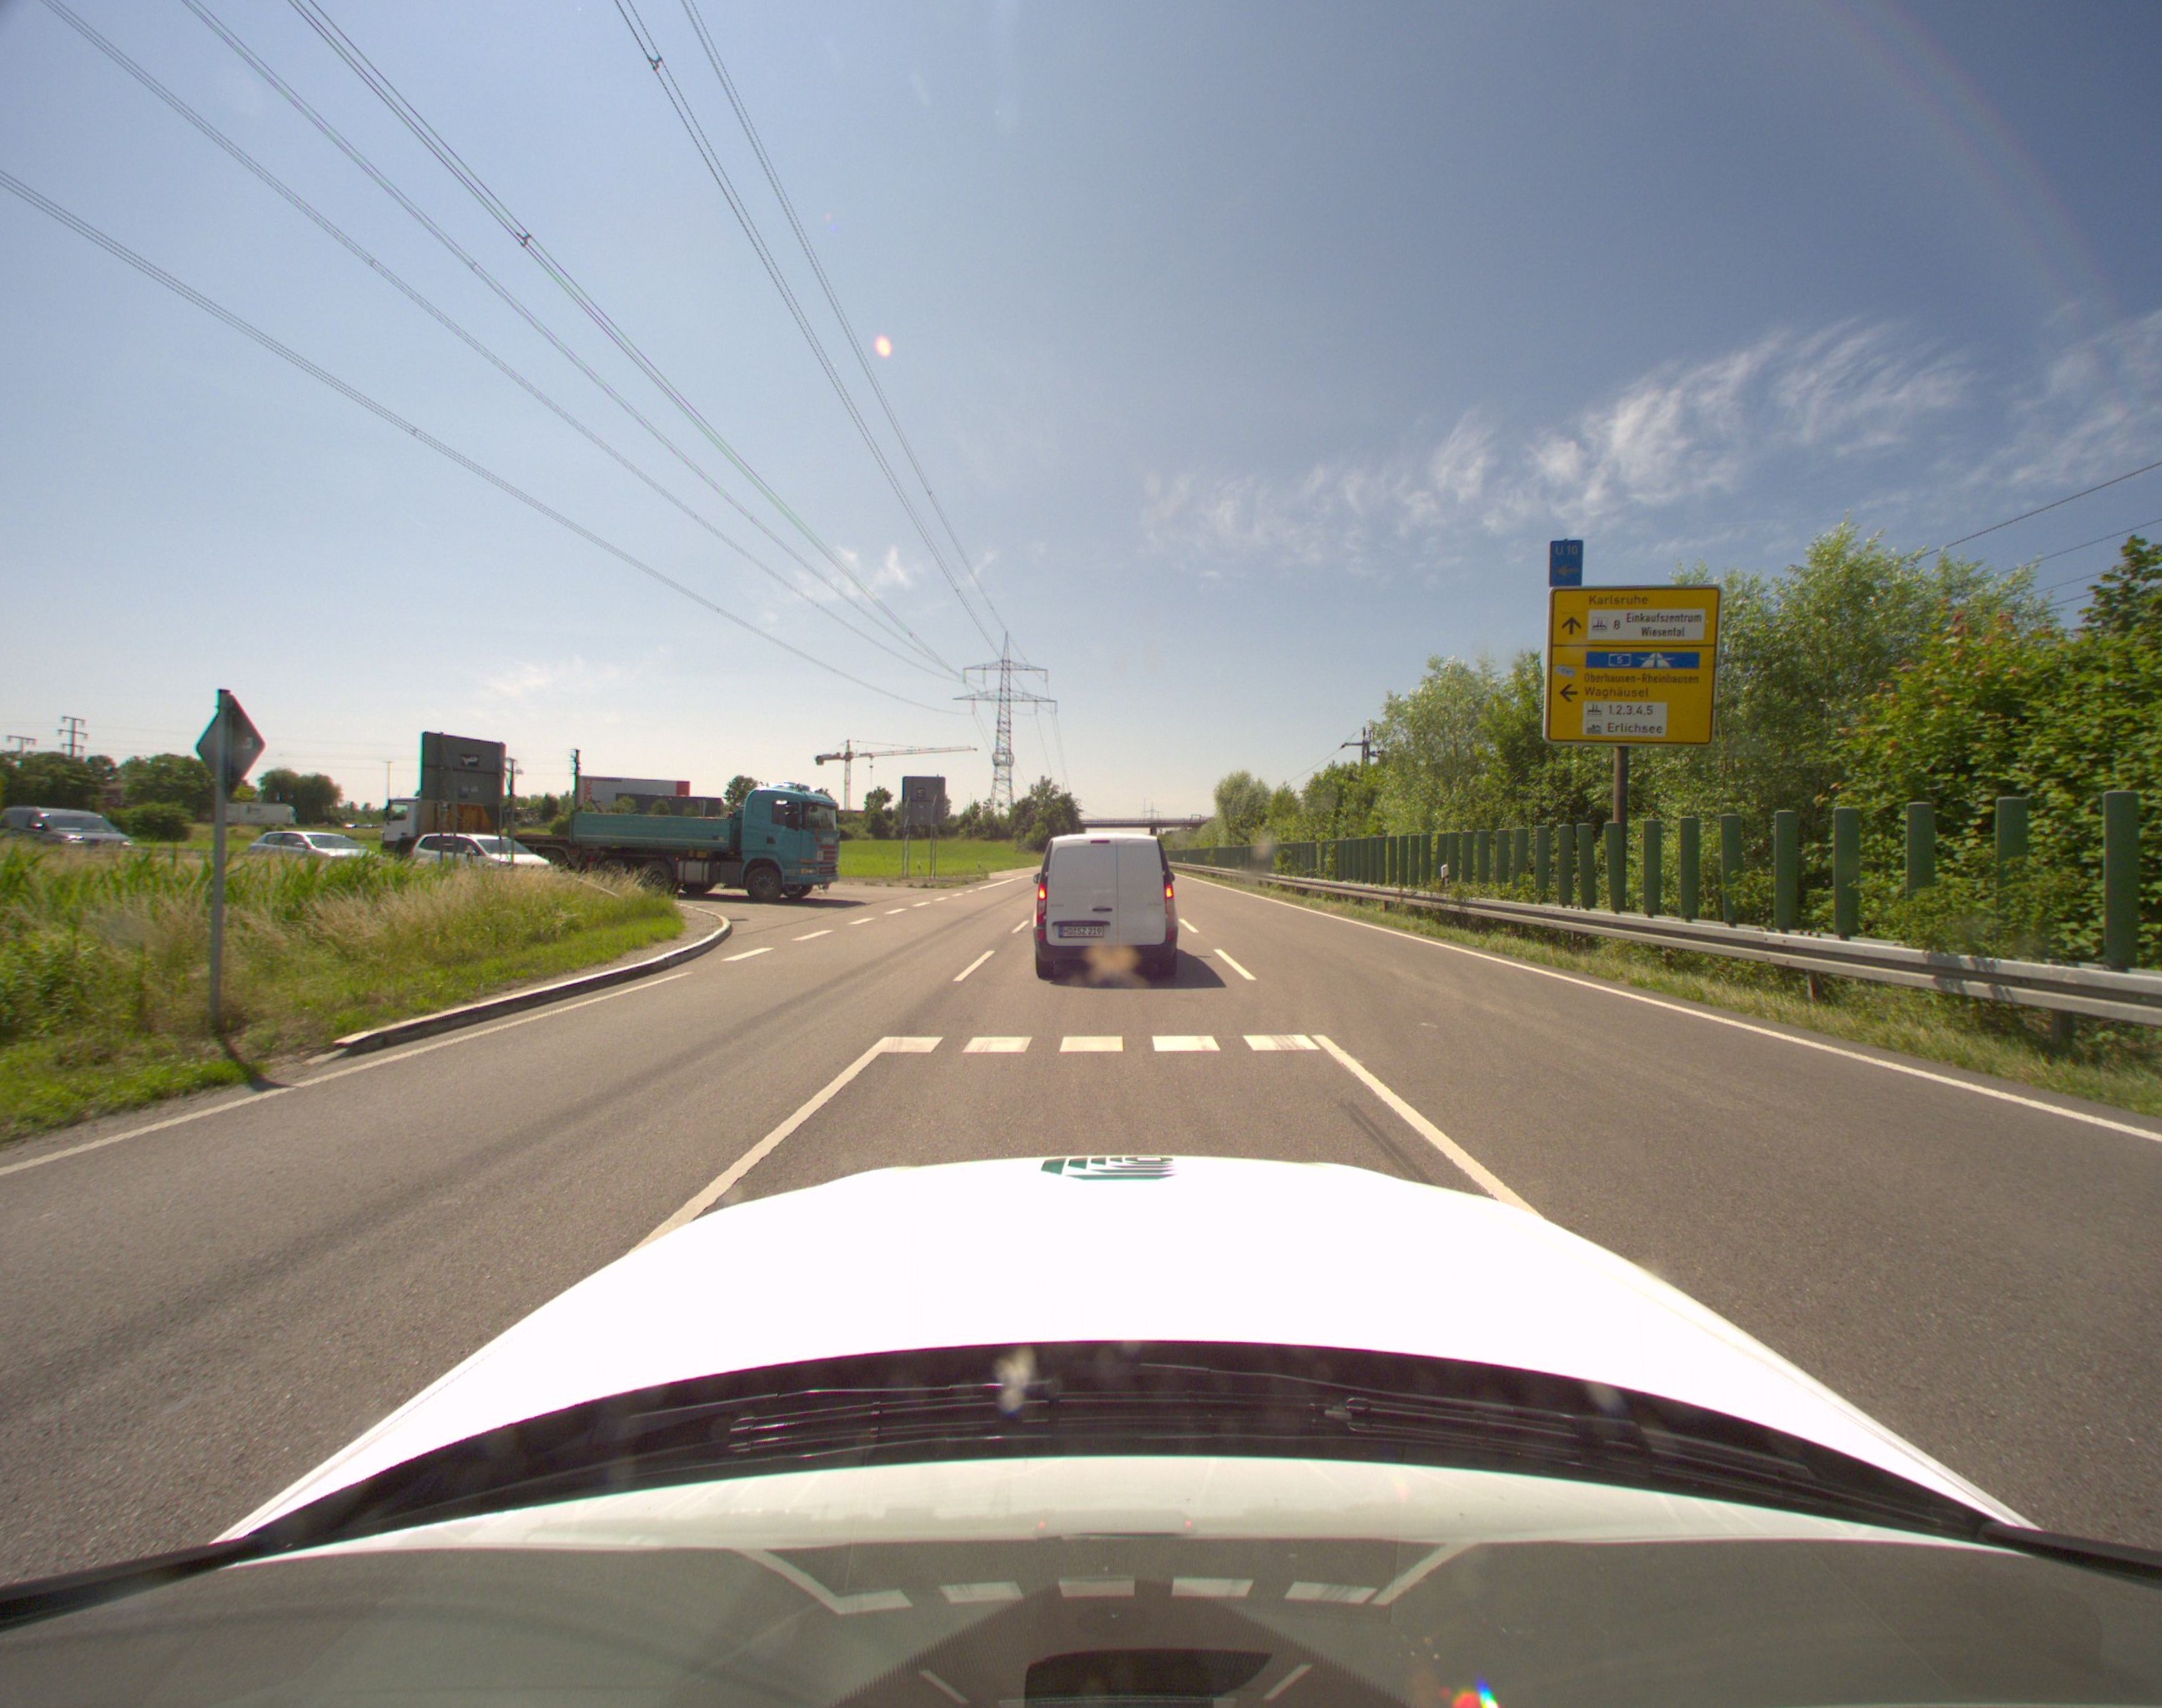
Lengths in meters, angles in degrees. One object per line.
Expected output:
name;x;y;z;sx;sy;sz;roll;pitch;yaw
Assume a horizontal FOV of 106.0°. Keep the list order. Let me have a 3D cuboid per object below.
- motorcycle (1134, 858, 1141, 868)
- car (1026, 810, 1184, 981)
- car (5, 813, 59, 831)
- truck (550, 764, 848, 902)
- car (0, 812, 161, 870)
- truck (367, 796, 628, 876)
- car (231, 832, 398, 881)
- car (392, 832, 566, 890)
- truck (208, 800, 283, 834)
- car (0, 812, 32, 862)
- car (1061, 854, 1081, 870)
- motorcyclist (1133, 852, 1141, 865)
motorcycle;6.624;1.006;95.368;0.788;1.157;1.901;0;0;1
car;0.335;0.480;11.439;1.820;1.971;4.001;-1;0;1
car;-106.567;-3.245;82.808;2.006;1.679;3.961;1;0;-31
truck;-11.528;-0.618;24.969;7.869;3.734;2.501;2;0;4
car;-35.475;-0.486;28.482;4.906;1.867;2.094;2;1;10
truck;-25.190;-0.778;35.408;9.623;3.288;2.833;0;0;4
car;-24.871;0.064;26.469;4.402;1.470;1.724;1;0;12
car;-18.778;0.185;25.460;4.506;1.612;1.976;1;0;16
truck;-127.698;-5.484;124.789;3.697;4.646;13.128;1;0;-26
car;-41.935;-0.680;30.216;4.438;1.849;1.922;1;0;12
car;-0.960;0.727;78.367;1.775;1.464;4.002;0;0;2
motorcyclist;6.568;0.498;95.569;0.886;1.476;1.002;0;0;1
